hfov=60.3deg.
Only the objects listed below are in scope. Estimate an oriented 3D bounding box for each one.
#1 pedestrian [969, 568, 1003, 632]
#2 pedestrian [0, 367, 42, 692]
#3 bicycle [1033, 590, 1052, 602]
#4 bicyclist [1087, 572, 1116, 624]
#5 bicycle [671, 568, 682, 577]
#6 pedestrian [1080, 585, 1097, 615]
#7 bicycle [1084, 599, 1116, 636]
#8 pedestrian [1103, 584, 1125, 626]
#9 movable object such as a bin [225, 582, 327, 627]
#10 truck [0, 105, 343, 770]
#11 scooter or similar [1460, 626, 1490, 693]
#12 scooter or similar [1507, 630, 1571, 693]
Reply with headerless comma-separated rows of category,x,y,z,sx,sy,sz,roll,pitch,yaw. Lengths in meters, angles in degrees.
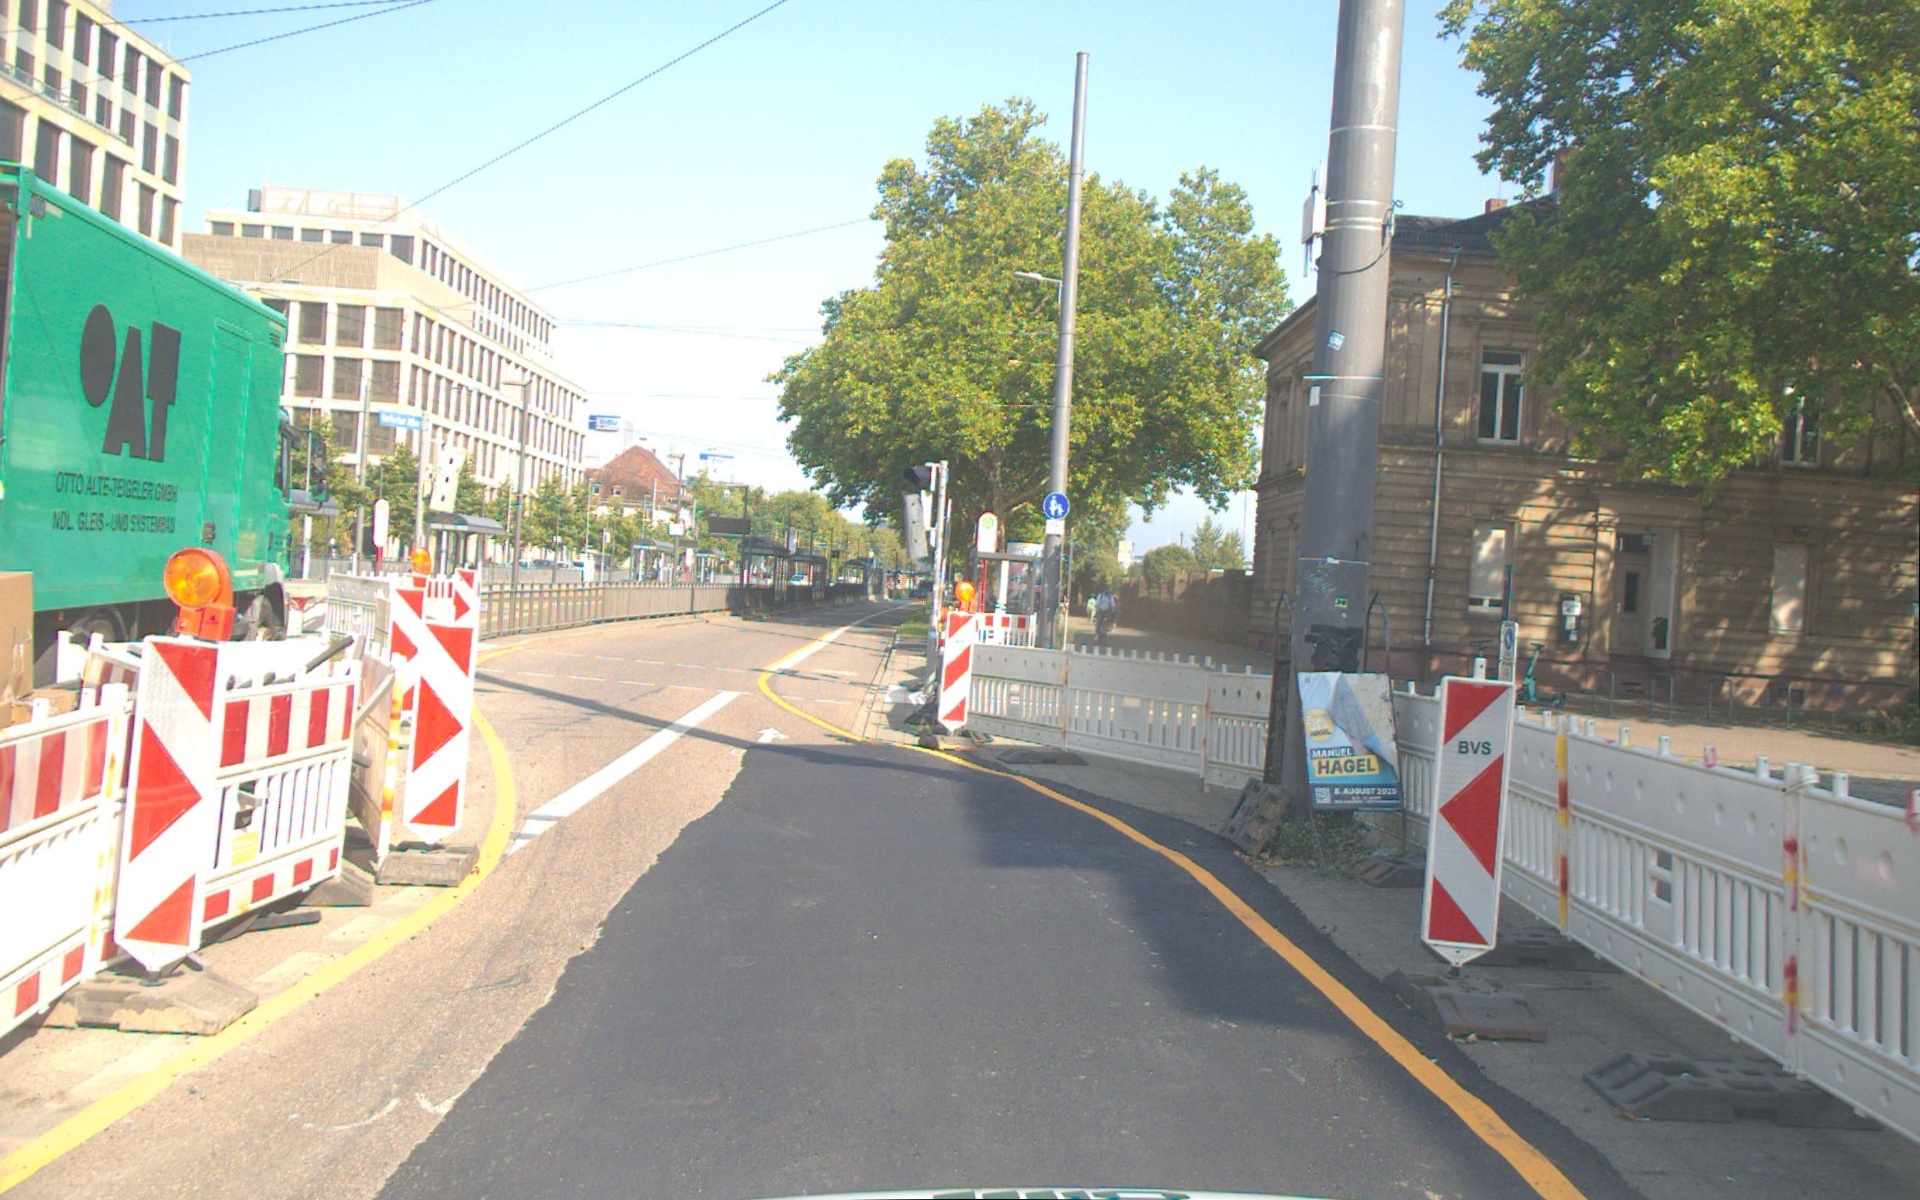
pedestrian,0.722,-0.011,45.854,0.678,1.726,0.645,3,0,-22
pedestrian,-5.503,-0.395,8.828,0.693,1.723,0.763,3,0,35
bicycle,6.932,-0.342,138.833,1.621,0.986,0.506,1,0,5
bicyclist,4.438,-0.061,52.033,0.703,1.570,0.955,3,1,-3
bicycle,-22.910,-2.199,133.838,0.467,0.674,1.614,3,0,4
pedestrian,7.113,-0.026,91.631,0.789,1.632,0.947,2,0,0
bicycle,4.409,0.550,52.031,0.703,1.060,1.902,3,1,-3
pedestrian,6.525,0.212,70.146,0.802,1.715,1.012,2,0,0
movable object such as a bin,-11.513,0.071,27.835,1.475,0.664,0.701,4,1,21
truck,-7.246,-1.082,13.175,2.625,3.742,8.197,3,1,-9
scooter or similar,10.311,1.181,33.120,0.413,1.230,1.255,3,2,22
scooter or similar,11.770,1.249,33.623,1.235,1.230,0.419,1,2,-26
